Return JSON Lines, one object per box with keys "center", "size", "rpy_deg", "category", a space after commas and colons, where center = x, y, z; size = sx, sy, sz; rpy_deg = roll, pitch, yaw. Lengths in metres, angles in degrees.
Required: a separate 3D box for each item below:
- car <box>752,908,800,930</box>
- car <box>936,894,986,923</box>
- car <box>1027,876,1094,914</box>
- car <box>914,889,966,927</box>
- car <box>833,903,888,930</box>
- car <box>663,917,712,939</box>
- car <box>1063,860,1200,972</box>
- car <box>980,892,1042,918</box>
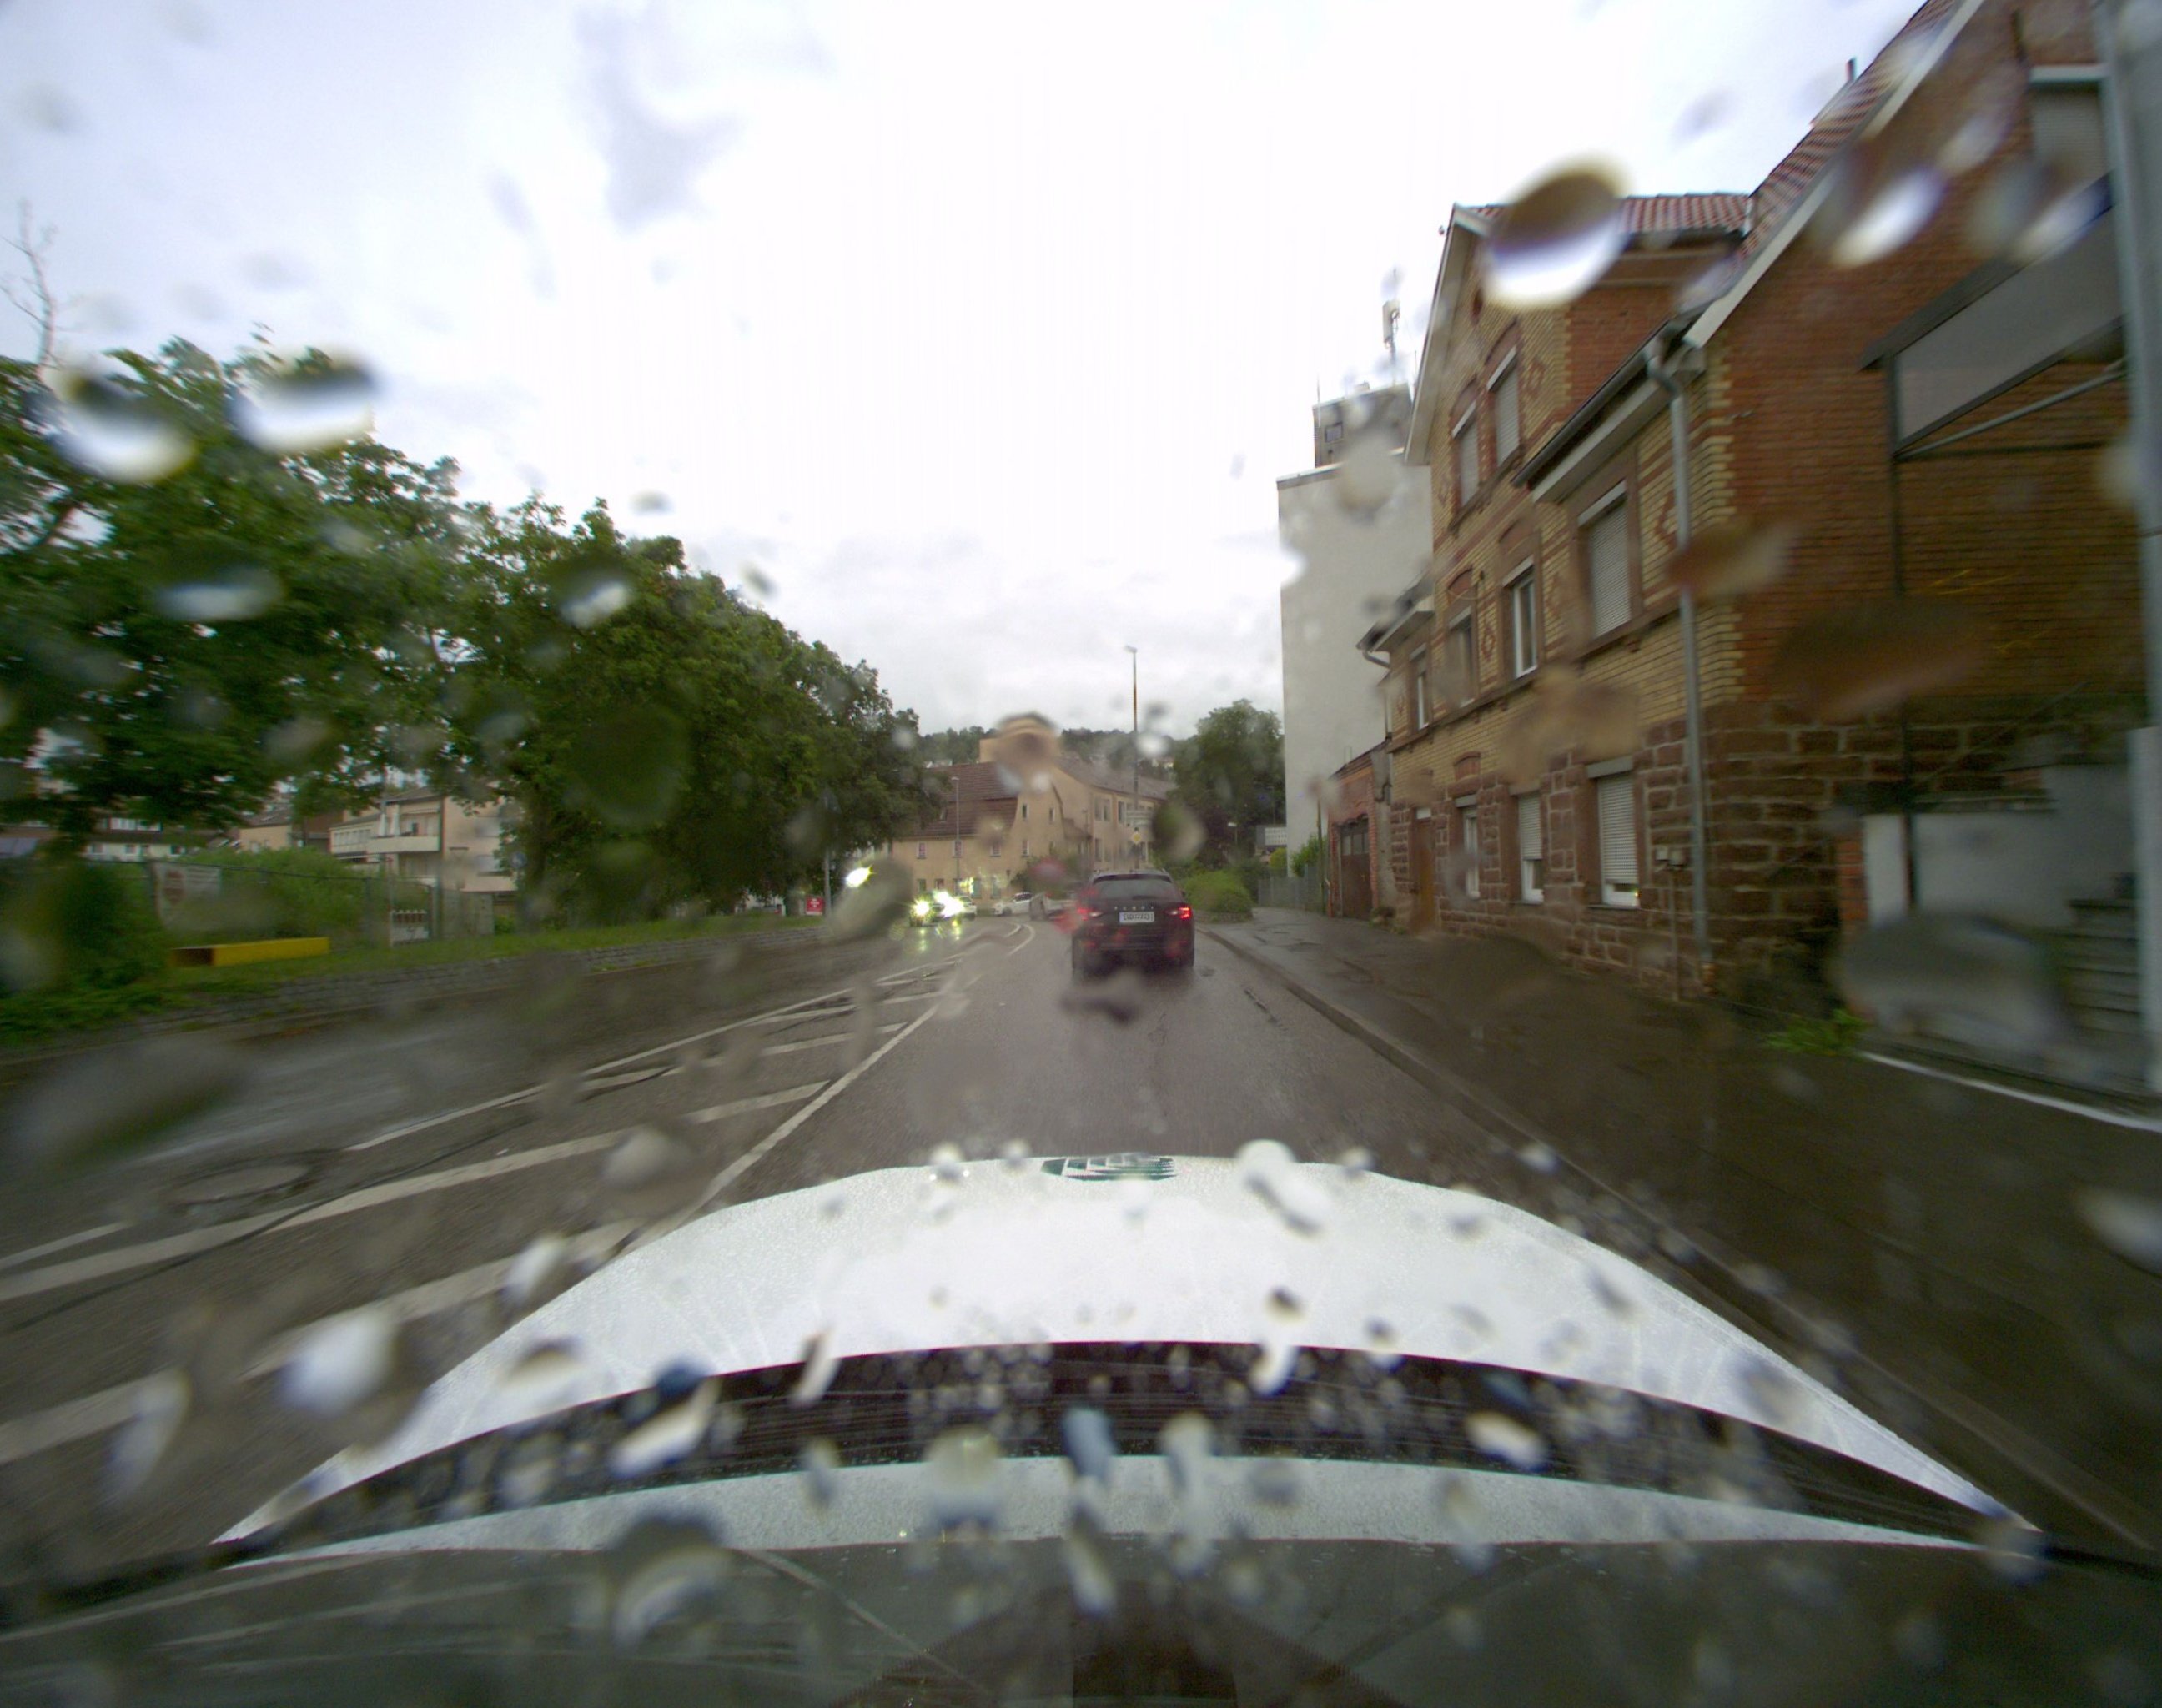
{"center": [-24.671, 5.273, 65.841], "size": [3.640, 1.591, 1.911], "rpy_deg": [-3, -2, 34], "category": "car"}
{"center": [-6.981, 3.115, 46.997], "size": [1.736, 1.591, 4.149], "rpy_deg": [2, -4, -24], "category": "car"}
{"center": [-0.848, 1.556, 31.320], "size": [1.820, 1.360, 3.971], "rpy_deg": [-1, -2, -13], "category": "car"}
{"center": [-5.884, 2.179, 33.609], "size": [1.739, 1.411, 4.032], "rpy_deg": [-1, -3, -15], "category": "car"}
{"center": [-13.516, 3.829, 49.757], "size": [1.737, 1.505, 4.209], "rpy_deg": [-1, -4, -37], "category": "car"}
{"center": [-31.774, 5.931, 65.723], "size": [3.640, 1.591, 1.911], "rpy_deg": [-3, -2, 34], "category": "car"}
{"center": [0.649, 0.911, 13.269], "size": [1.777, 1.483, 4.241], "rpy_deg": [-1, -2, -2], "category": "car"}
{"center": [-4.764, 3.461, 55.542], "size": [3.769, 1.453, 1.698], "rpy_deg": [-2, -3, -25], "category": "car"}
